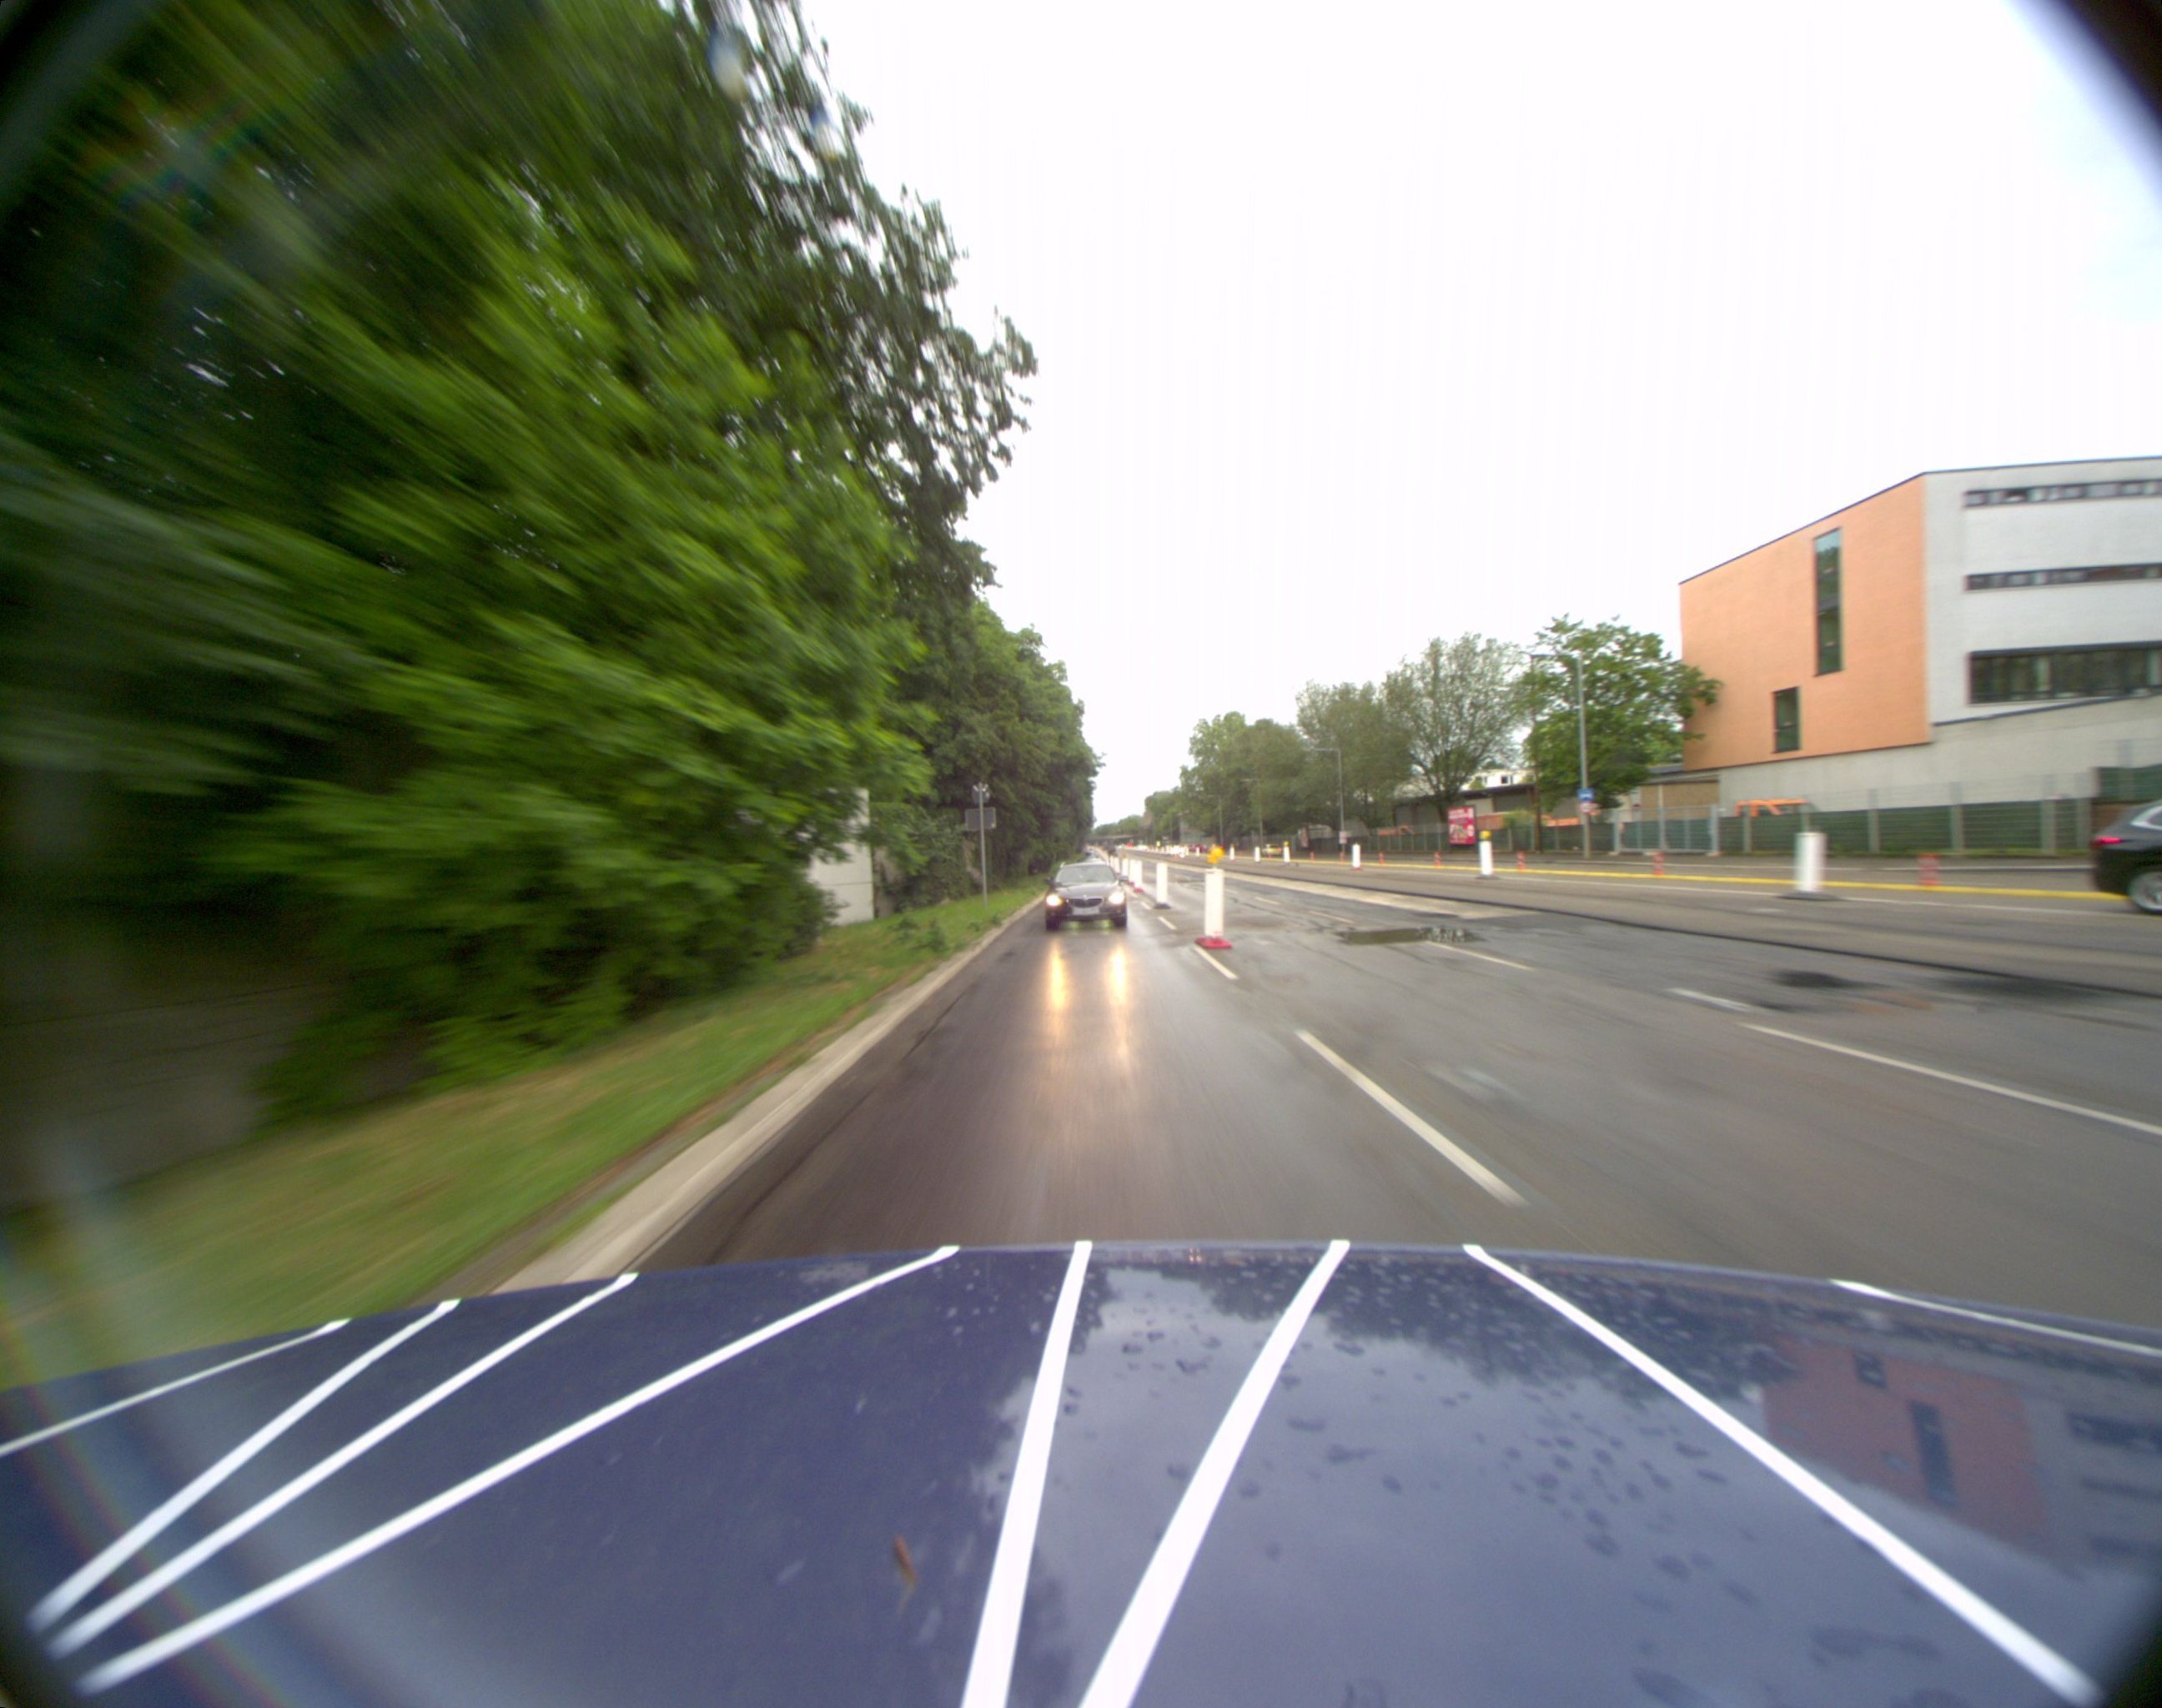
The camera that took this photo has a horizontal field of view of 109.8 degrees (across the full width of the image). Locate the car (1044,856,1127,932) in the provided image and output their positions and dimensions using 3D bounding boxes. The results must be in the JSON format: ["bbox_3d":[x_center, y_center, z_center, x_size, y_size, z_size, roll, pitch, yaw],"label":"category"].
[{"bbox_3d":[0.154,0.891,18.969,1.742,1.454,4.457,-3,1,1],"label":"car"}]

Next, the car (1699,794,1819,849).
[{"bbox_3d":[29.465,-1.366,33.201,1.614,2.158,3.999,-3,1,0],"label":"car"}]

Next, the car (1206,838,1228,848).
[{"bbox_3d":[22.941,-1.864,128.494,1.867,1.621,4.321,-1,1,-19],"label":"car"}]

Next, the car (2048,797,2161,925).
[{"bbox_3d":[15.330,0.082,8.757,1.999,1.696,4.983,-1,0,-1],"label":"car"}]

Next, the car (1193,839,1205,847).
[{"bbox_3d":[23.908,-2.263,154.313,1.863,1.610,4.364,-1,1,1],"label":"car"}]

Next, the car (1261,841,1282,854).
[{"bbox_3d":[22.198,-0.751,88.592,1.557,1.360,3.804,-2,1,1],"label":"car"}]

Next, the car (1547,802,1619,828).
[{"bbox_3d":[35.509,-2.759,53.793,4.012,1.519,2.004,-3,1,39],"label":"car"}]

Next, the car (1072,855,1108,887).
[{"bbox_3d":[0.521,0.871,41.368,1.742,1.454,4.457,-3,1,1],"label":"car"}]

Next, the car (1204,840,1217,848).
[{"bbox_3d":[23.842,-1.862,139.890,1.863,1.467,3.731,-1,1,1],"label":"car"}]
